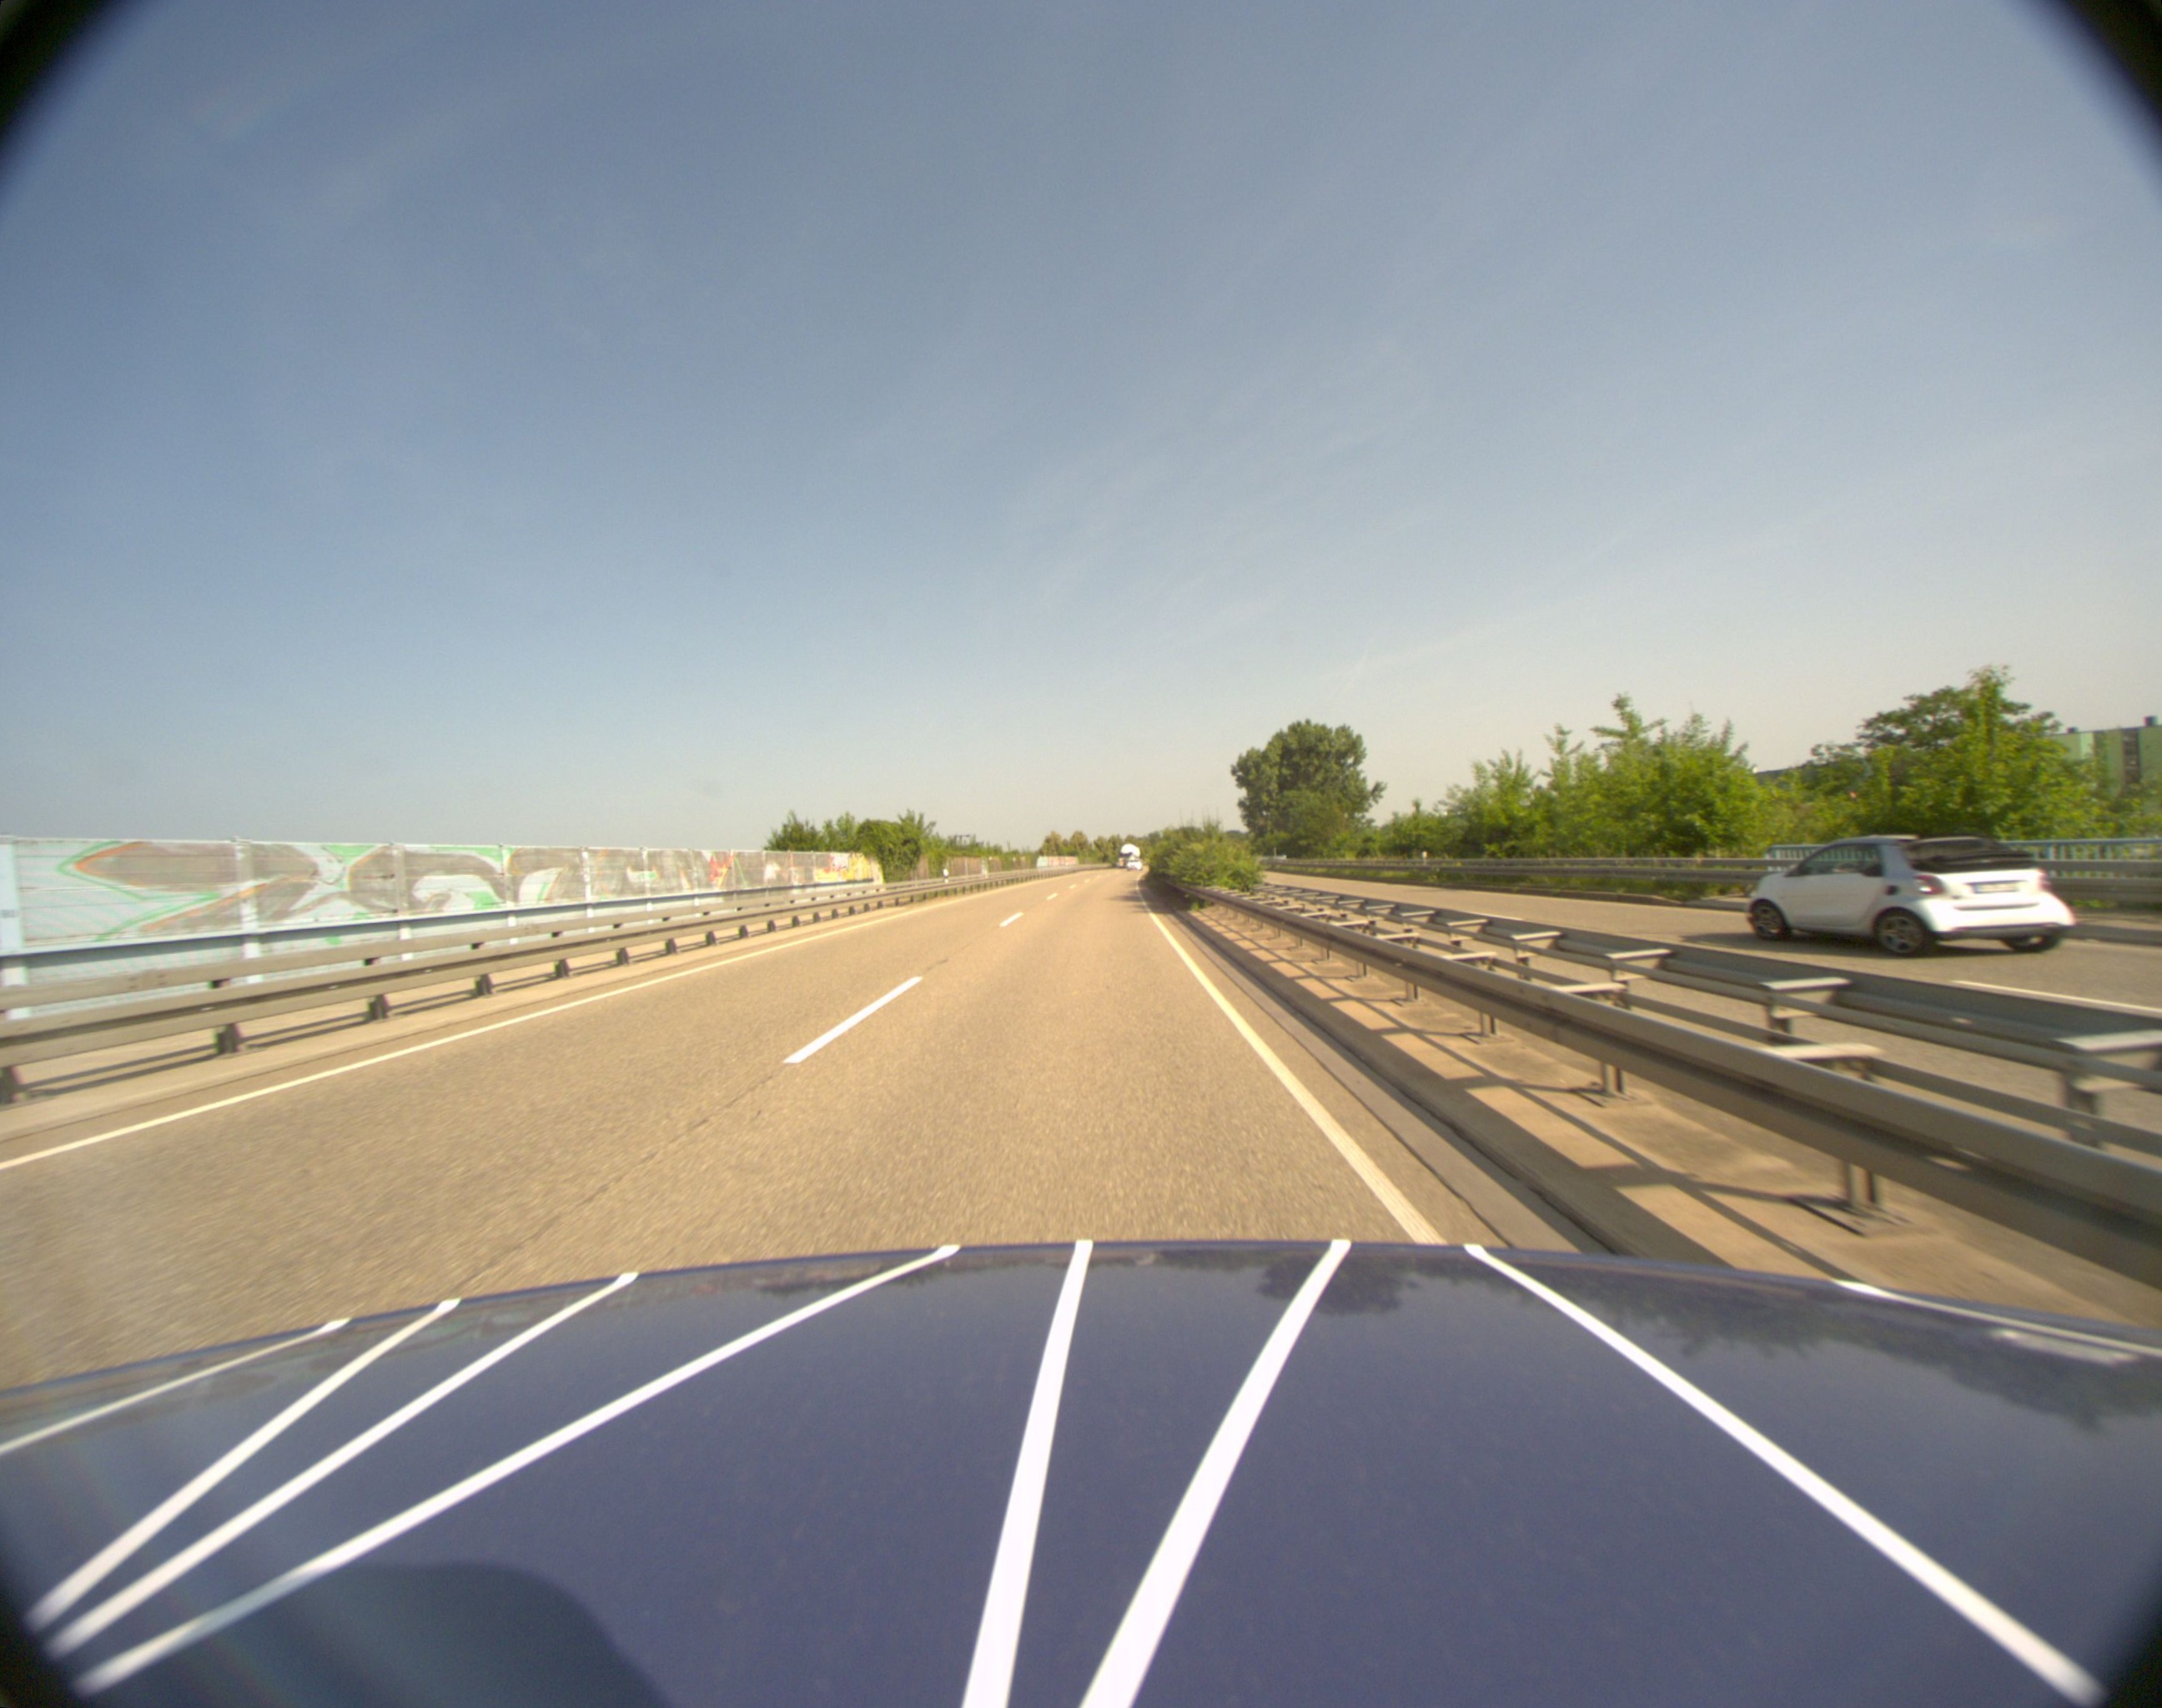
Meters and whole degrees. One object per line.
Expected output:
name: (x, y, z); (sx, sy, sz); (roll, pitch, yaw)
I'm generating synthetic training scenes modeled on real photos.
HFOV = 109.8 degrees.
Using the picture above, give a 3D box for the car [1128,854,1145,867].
car: (6.883, 0.820, 94.383); (1.788, 1.427, 4.002); (-3, 0, 7)

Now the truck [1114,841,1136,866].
truck: (7.309, -0.082, 125.897); (2.776, 3.939, 5.632); (-2, 1, 12)

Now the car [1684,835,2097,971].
car: (10.938, 0.567, 10.781); (1.651, 1.494, 4.001); (-3, 0, 3)

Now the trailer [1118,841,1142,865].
trailer: (8.485, -0.271, 131.316); (2.761, 3.968, 8.193); (-2, 0, 12)
